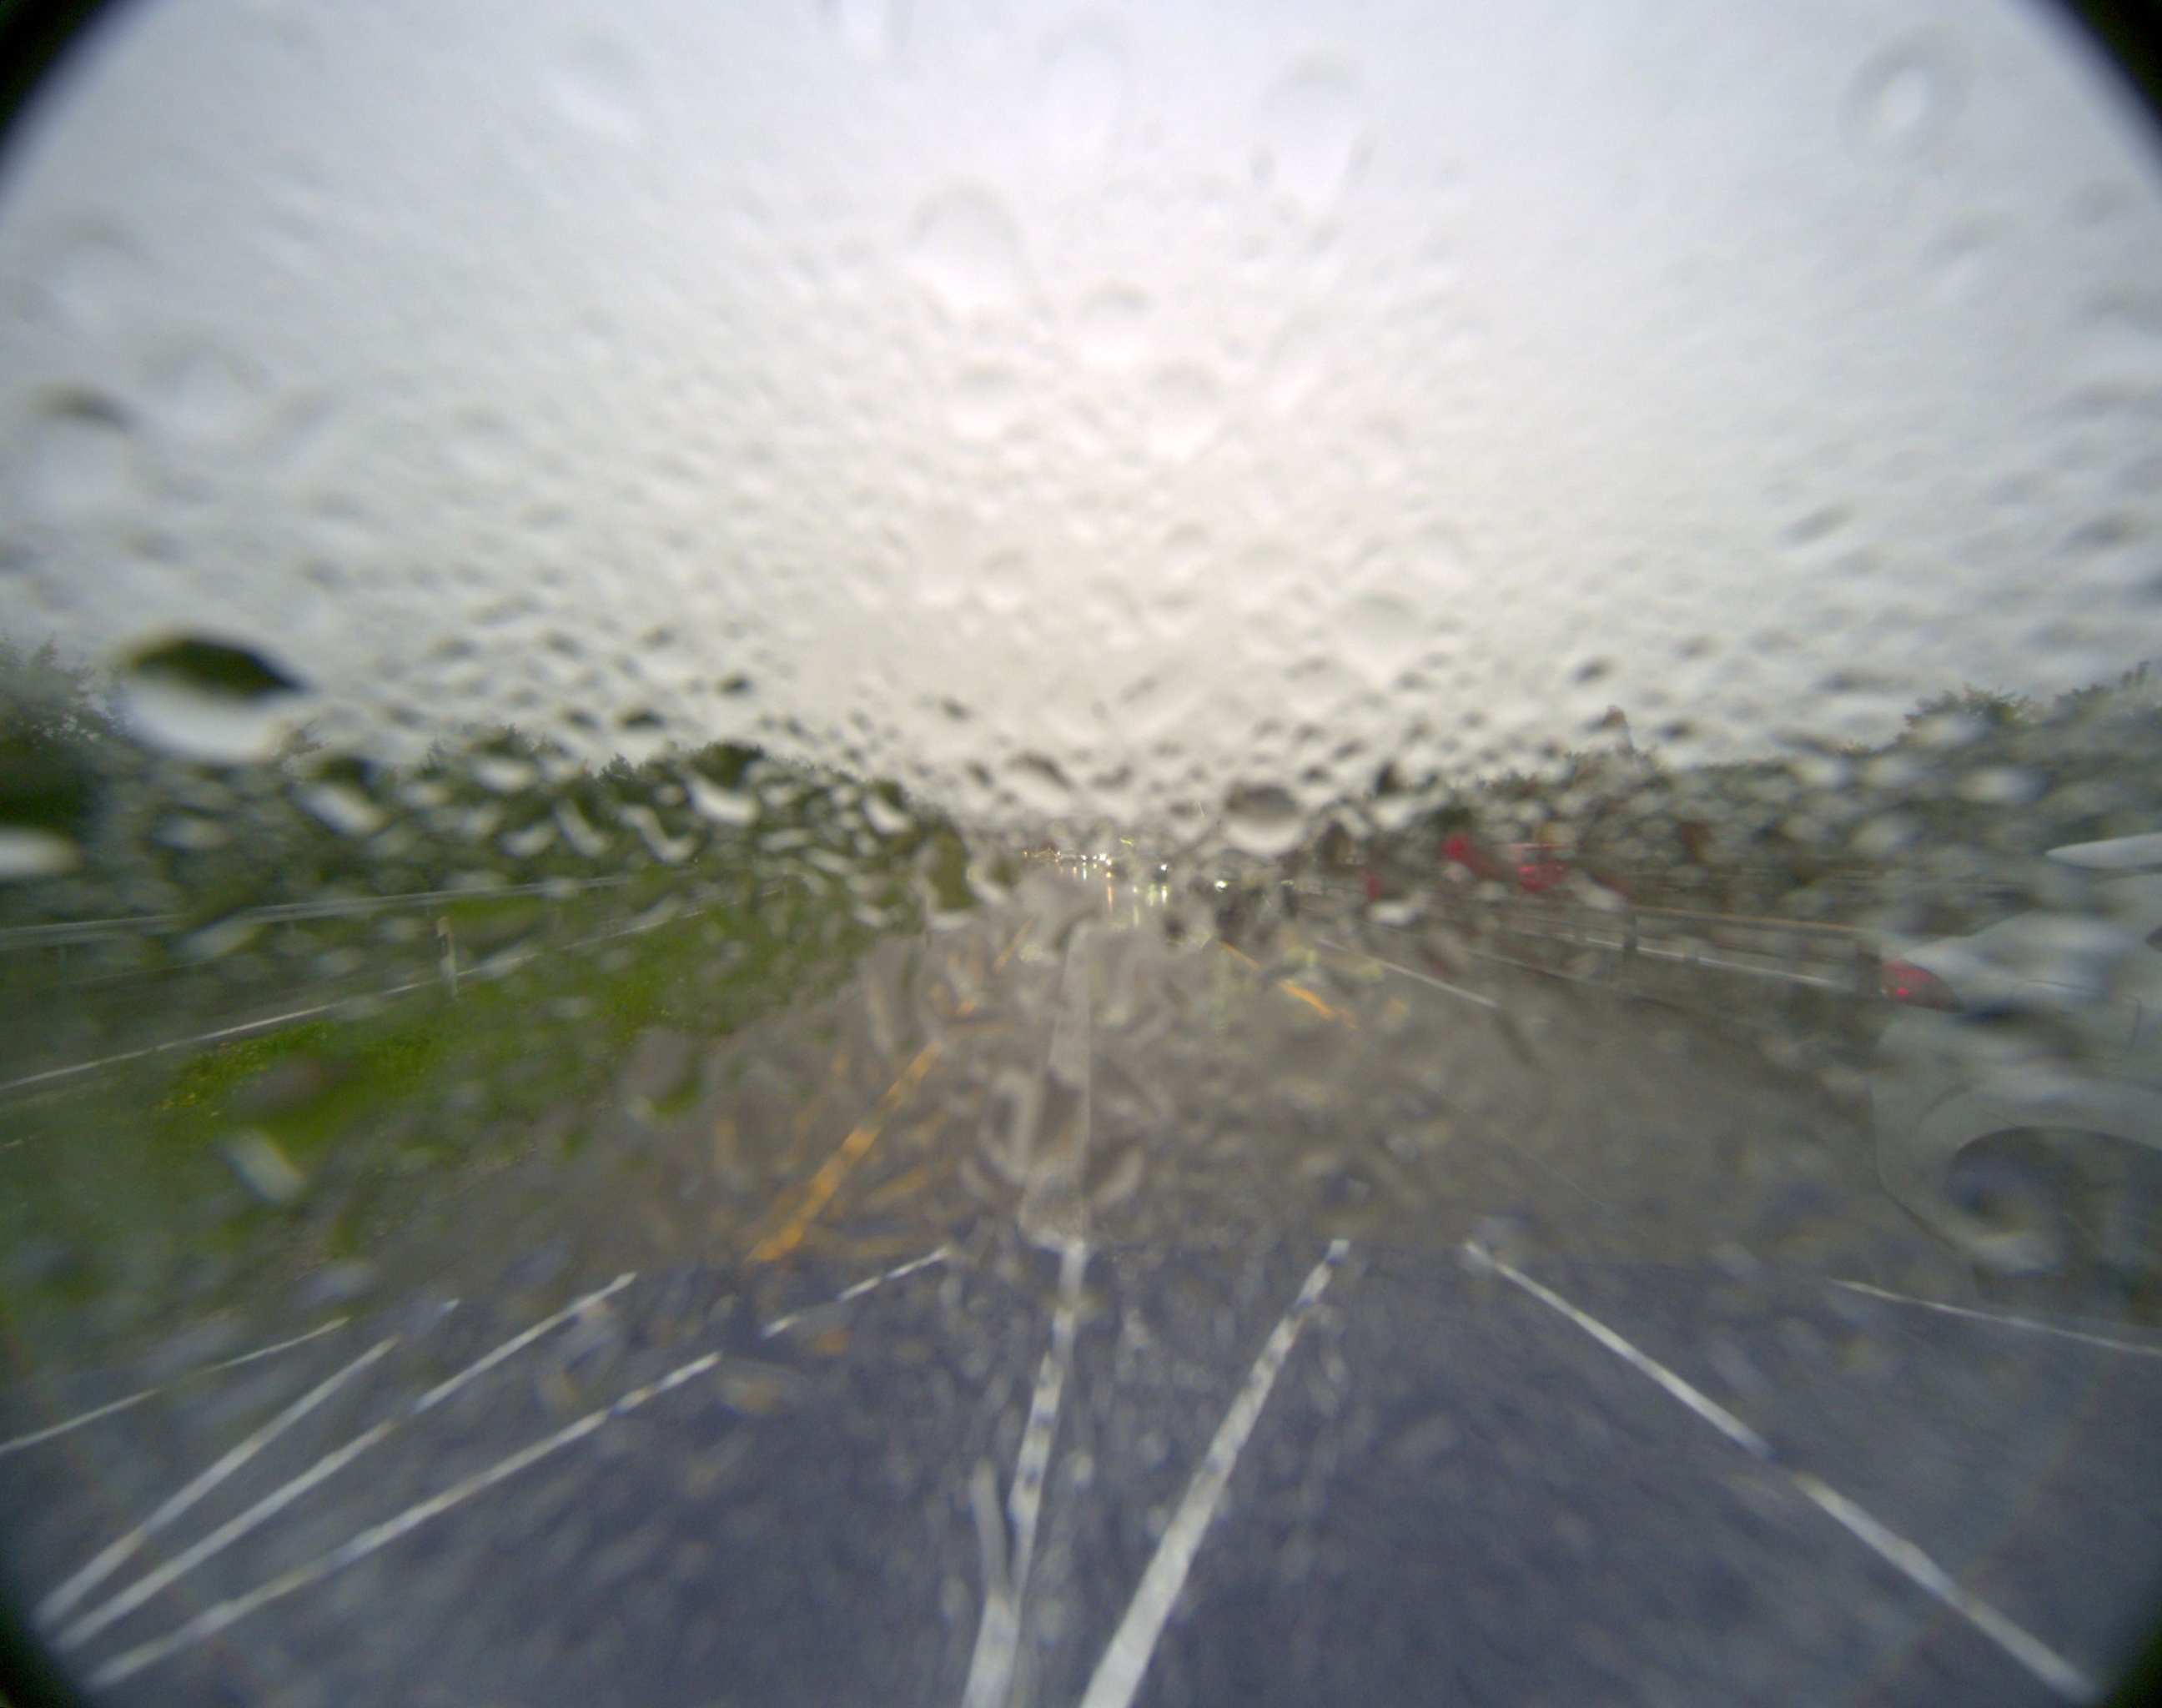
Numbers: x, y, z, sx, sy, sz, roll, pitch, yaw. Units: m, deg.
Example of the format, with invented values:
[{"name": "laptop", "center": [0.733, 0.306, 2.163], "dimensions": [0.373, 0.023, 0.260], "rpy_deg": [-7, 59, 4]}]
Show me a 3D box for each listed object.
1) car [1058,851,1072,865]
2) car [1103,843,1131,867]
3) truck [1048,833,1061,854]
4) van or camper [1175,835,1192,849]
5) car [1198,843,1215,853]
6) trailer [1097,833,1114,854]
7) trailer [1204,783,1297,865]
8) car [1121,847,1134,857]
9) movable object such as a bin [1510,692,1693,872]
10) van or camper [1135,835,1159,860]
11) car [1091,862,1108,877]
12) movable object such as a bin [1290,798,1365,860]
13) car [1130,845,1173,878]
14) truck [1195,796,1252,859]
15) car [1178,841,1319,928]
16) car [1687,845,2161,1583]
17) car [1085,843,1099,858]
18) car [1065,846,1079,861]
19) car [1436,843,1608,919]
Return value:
[{"name": "car", "center": [-2.292, 0.558, 109.206], "dimensions": [1.674, 1.804, 3.997], "rpy_deg": [-1, 1, -5]}, {"name": "car", "center": [2.880, 0.050, 61.015], "dimensions": [1.881, 1.772, 3.998], "rpy_deg": [-1, 1, -2]}, {"name": "truck", "center": [-5.515, -2.134, 157.738], "dimensions": [2.507, 4.067, 15.195], "rpy_deg": [-3, 1, -2]}, {"name": "van or camper", "center": [33.520, -4.007, 249.197], "dimensions": [3.377, 4.299, 8.500], "rpy_deg": [-3, 1, -6]}, {"name": "car", "center": [25.893, -1.176, 156.619], "dimensions": [2.100, 1.955, 5.362], "rpy_deg": [-2, 1, -4]}, {"name": "trailer", "center": [5.174, -2.269, 161.577], "dimensions": [2.984, 4.270, 11.056], "rpy_deg": [-1, 1, -1]}, {"name": "trailer", "center": [9.966, -1.708, 46.374], "dimensions": [2.900, 4.262, 12.892], "rpy_deg": [-1, 1, 1]}, {"name": "car", "center": [7.725, -0.335, 126.634], "dimensions": [1.640, 1.659, 4.542], "rpy_deg": [-3, 1, 0]}, {"name": "movable object such as a bin", "center": [26.234, -3.362, 39.013], "dimensions": [3.605, 8.097, 8.306], "rpy_deg": [-3, 1, 1]}, {"name": "van or camper", "center": [8.680, -0.918, 100.403], "dimensions": [2.299, 3.024, 6.697], "rpy_deg": [-3, 1, -1]}, {"name": "car", "center": [1.952, 1.607, 79.752], "dimensions": [1.590, 1.528, 3.830], "rpy_deg": [0, 1, -1]}, {"name": "movable object such as a bin", "center": [25.640, -2.548, 79.916], "dimensions": [4.181, 5.881, 11.043], "rpy_deg": [-3, 1, 1]}, {"name": "car", "center": [3.585, 0.351, 39.242], "dimensions": [1.792, 1.481, 3.999], "rpy_deg": [-3, 1, -1]}, {"name": "truck", "center": [10.059, -1.866, 54.279], "dimensions": [2.896, 4.208, 6.324], "rpy_deg": [-1, 1, 0]}, {"name": "car", "center": [3.588, 0.557, 17.324], "dimensions": [2.069, 1.618, 5.194], "rpy_deg": [-1, 1, 0]}, {"name": "car", "center": [3.255, 0.806, 0.431], "dimensions": [1.932, 1.542, 5.006], "rpy_deg": [-2, 1, 2]}, {"name": "car", "center": [1.568, -0.498, 109.341], "dimensions": [1.767, 2.002, 3.999], "rpy_deg": [-3, 1, -1]}, {"name": "car", "center": [-1.087, -0.076, 89.688], "dimensions": [1.673, 1.804, 3.999], "rpy_deg": [0, 1, -1]}, {"name": "car", "center": [10.206, 0.536, 17.998], "dimensions": [1.612, 1.495, 4.216], "rpy_deg": [-3, 1, 0]}]
